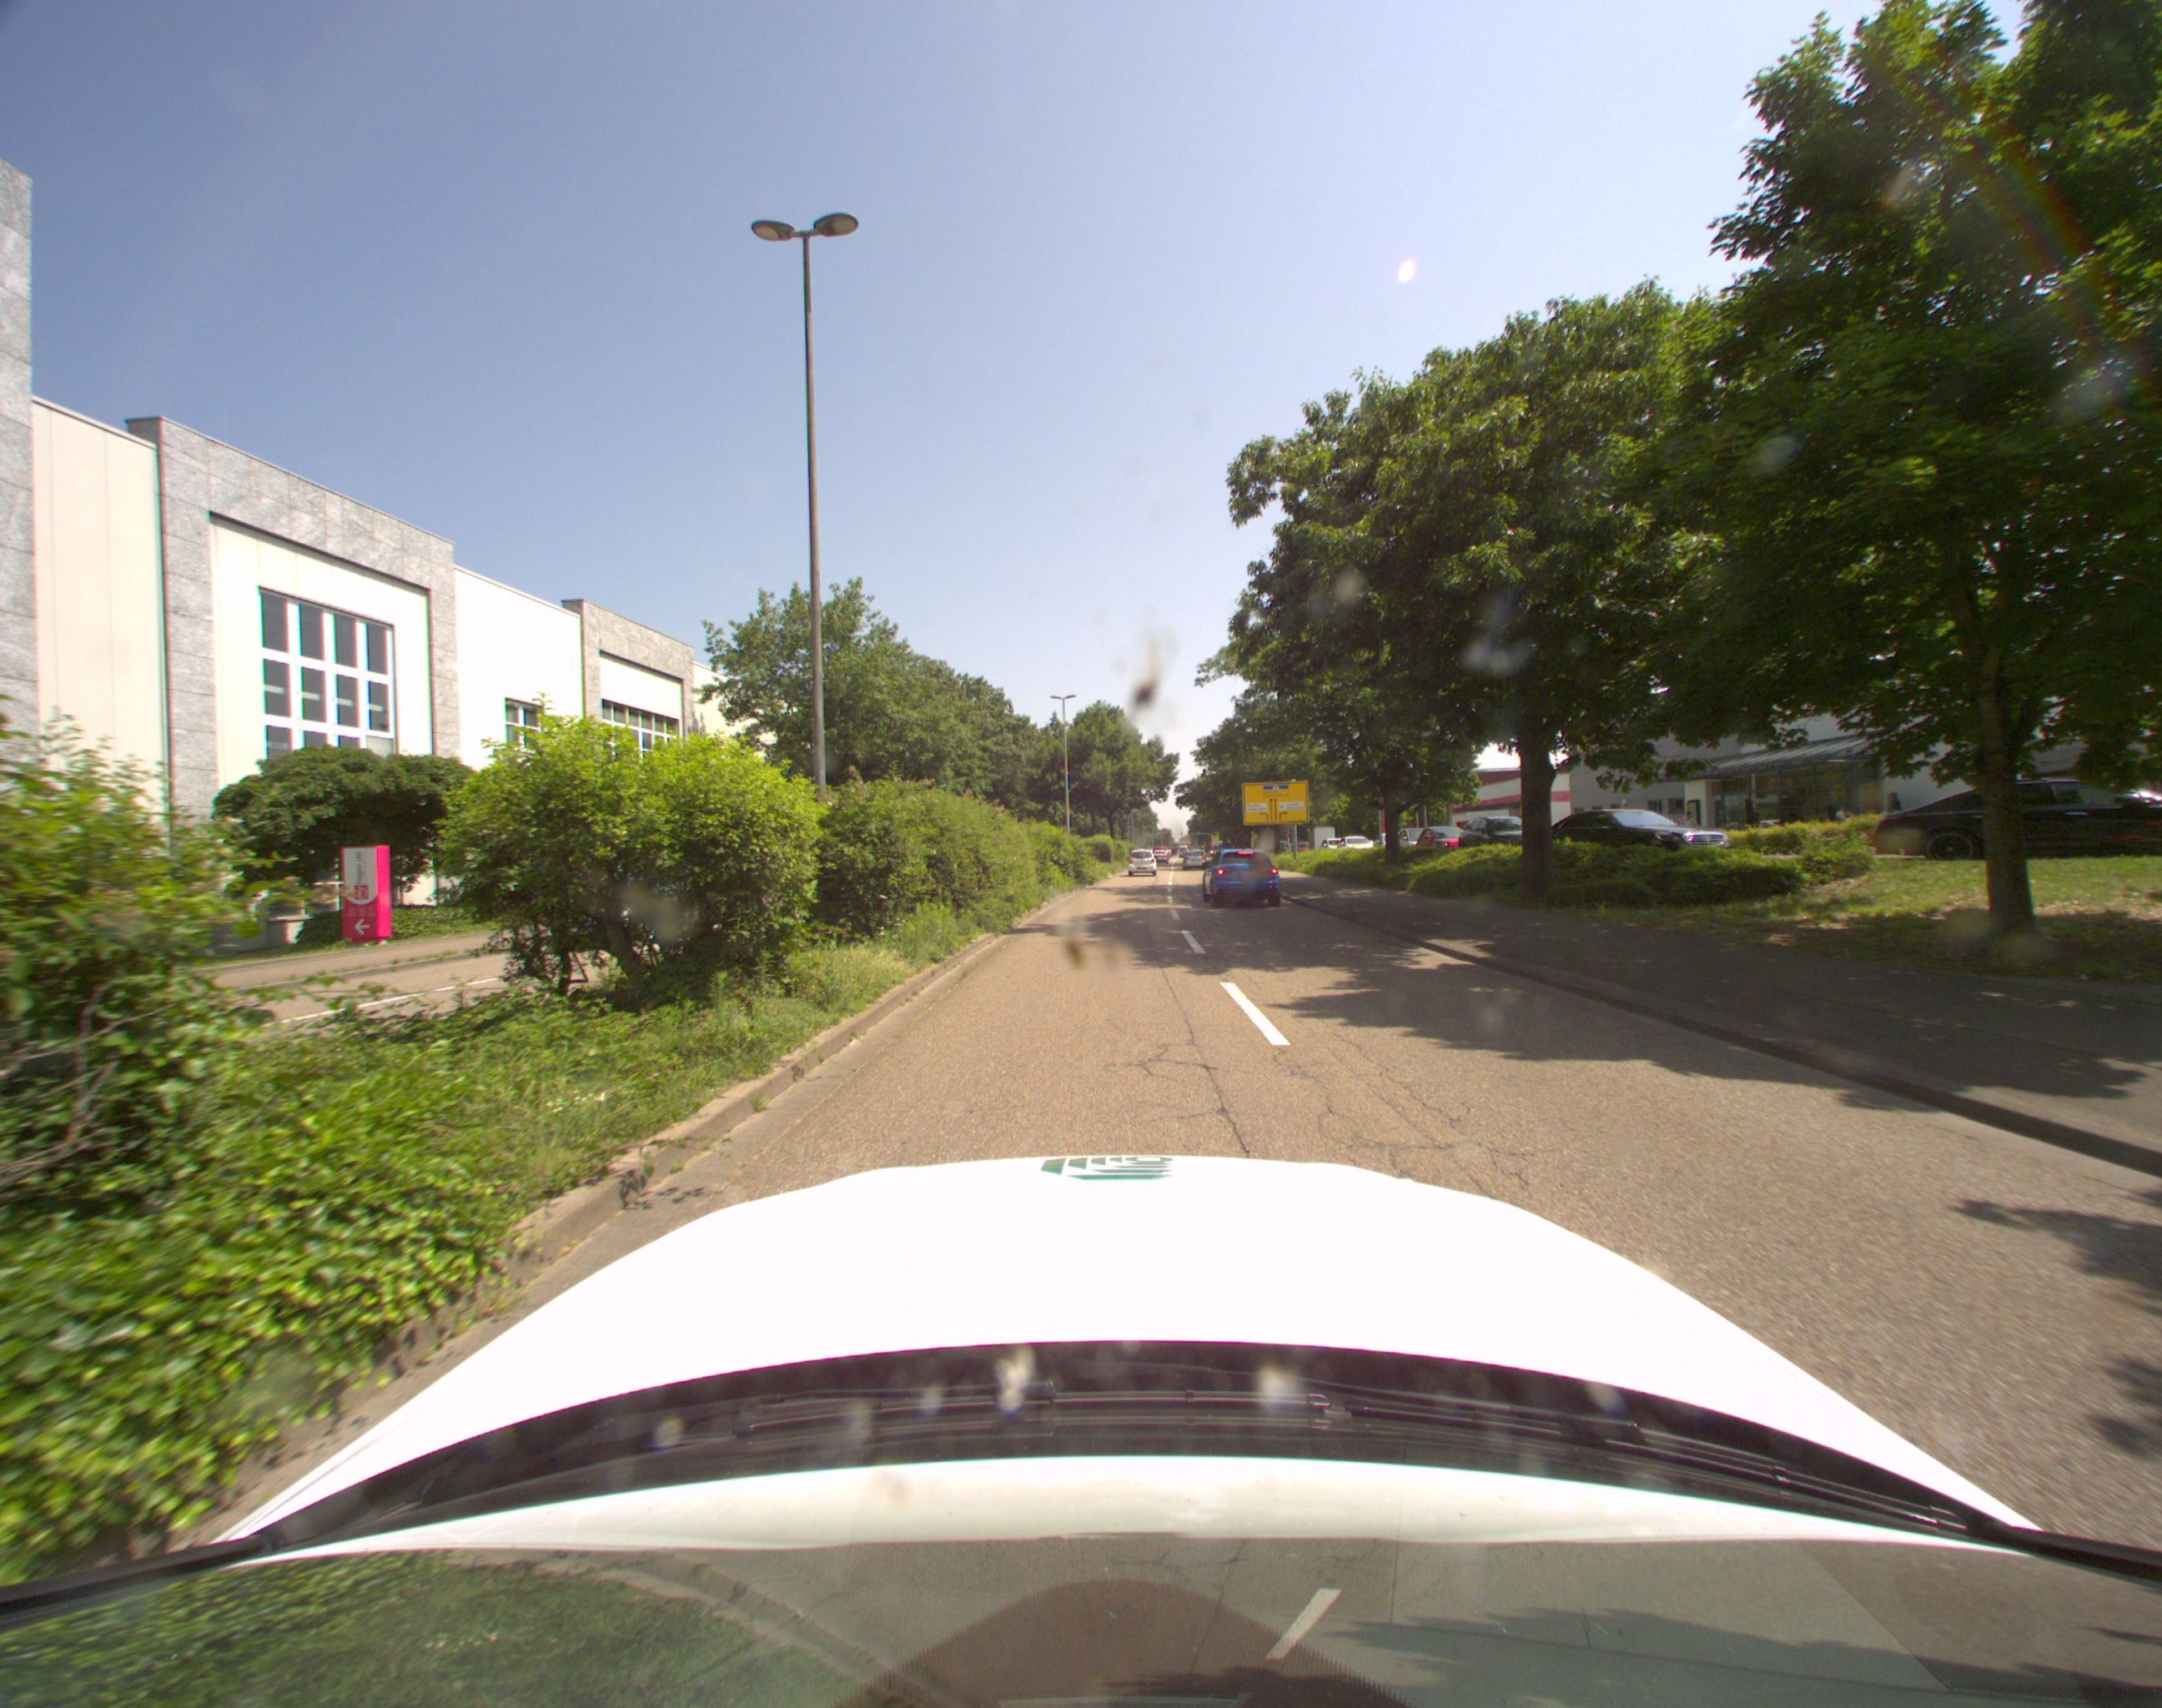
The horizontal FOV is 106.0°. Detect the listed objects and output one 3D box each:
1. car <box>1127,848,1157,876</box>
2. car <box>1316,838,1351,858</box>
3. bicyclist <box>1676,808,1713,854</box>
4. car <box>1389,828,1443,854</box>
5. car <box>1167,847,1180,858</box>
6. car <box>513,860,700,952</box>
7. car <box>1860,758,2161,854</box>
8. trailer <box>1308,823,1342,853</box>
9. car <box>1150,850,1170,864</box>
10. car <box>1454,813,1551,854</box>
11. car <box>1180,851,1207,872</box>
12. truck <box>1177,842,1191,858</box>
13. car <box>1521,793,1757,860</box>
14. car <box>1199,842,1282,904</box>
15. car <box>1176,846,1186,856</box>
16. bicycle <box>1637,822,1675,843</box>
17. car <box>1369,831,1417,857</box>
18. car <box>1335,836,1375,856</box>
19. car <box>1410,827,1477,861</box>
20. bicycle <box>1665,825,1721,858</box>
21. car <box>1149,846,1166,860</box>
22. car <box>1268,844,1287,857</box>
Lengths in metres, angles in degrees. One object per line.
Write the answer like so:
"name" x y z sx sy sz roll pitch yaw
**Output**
"car" 3.583 0.465 48.242 1.632 1.552 3.327 -1 -1 3
"car" 17.449 -0.403 56.409 1.611 1.253 3.636 -1 -1 5
"bicyclist" 24.654 -0.922 32.748 0.774 1.804 0.865 -3 0 4
"car" 15.317 -0.573 37.342 1.500 1.122 2.860 -1 -1 5
"car" 12.381 -0.137 108.856 1.482 1.392 3.308 -1 -1 2
"car" -9.899 1.010 17.314 1.724 1.637 3.474 -3 0 3
"car" 16.497 -0.767 13.588 1.959 1.352 4.669 -2 0 -30
"trailer" 18.375 -1.178 61.498 1.690 2.055 5.498 -2 0 9
"car" 8.182 0.314 84.113 1.875 1.354 4.008 -1 -1 7
"car" 14.226 -0.658 27.738 1.610 1.253 4.207 0 0 7
"car" 8.392 0.547 60.803 1.856 1.473 4.007 -1 -1 6
"truck" 23.961 -1.028 189.819 2.917 3.502 9.175 -2 0 7
"car" 13.991 -0.597 20.989 1.902 1.451 5.592 -1 -1 -5
"car" 4.453 0.515 23.301 1.800 1.593 4.354 -1 -1 4
"car" 22.004 -0.641 179.470 1.983 2.255 4.008 -2 0 7
"bicycle" 28.110 -1.038 39.854 0.585 0.980 2.107 -3 0 8
"car" 16.179 -0.510 42.437 1.609 1.253 3.877 -1 -1 10
"car" 16.828 -0.481 50.176 1.585 1.158 3.744 -1 -1 6
"car" 14.705 -0.364 33.232 1.609 1.253 3.774 -1 -1 10
"bicycle" 24.688 -0.490 32.901 0.687 1.225 2.246 -3 0 5
"car" 9.164 -0.104 96.951 1.875 1.608 4.007 -2 0 6
"car" 21.933 -0.388 91.062 1.690 1.424 4.667 -2 -1 10
